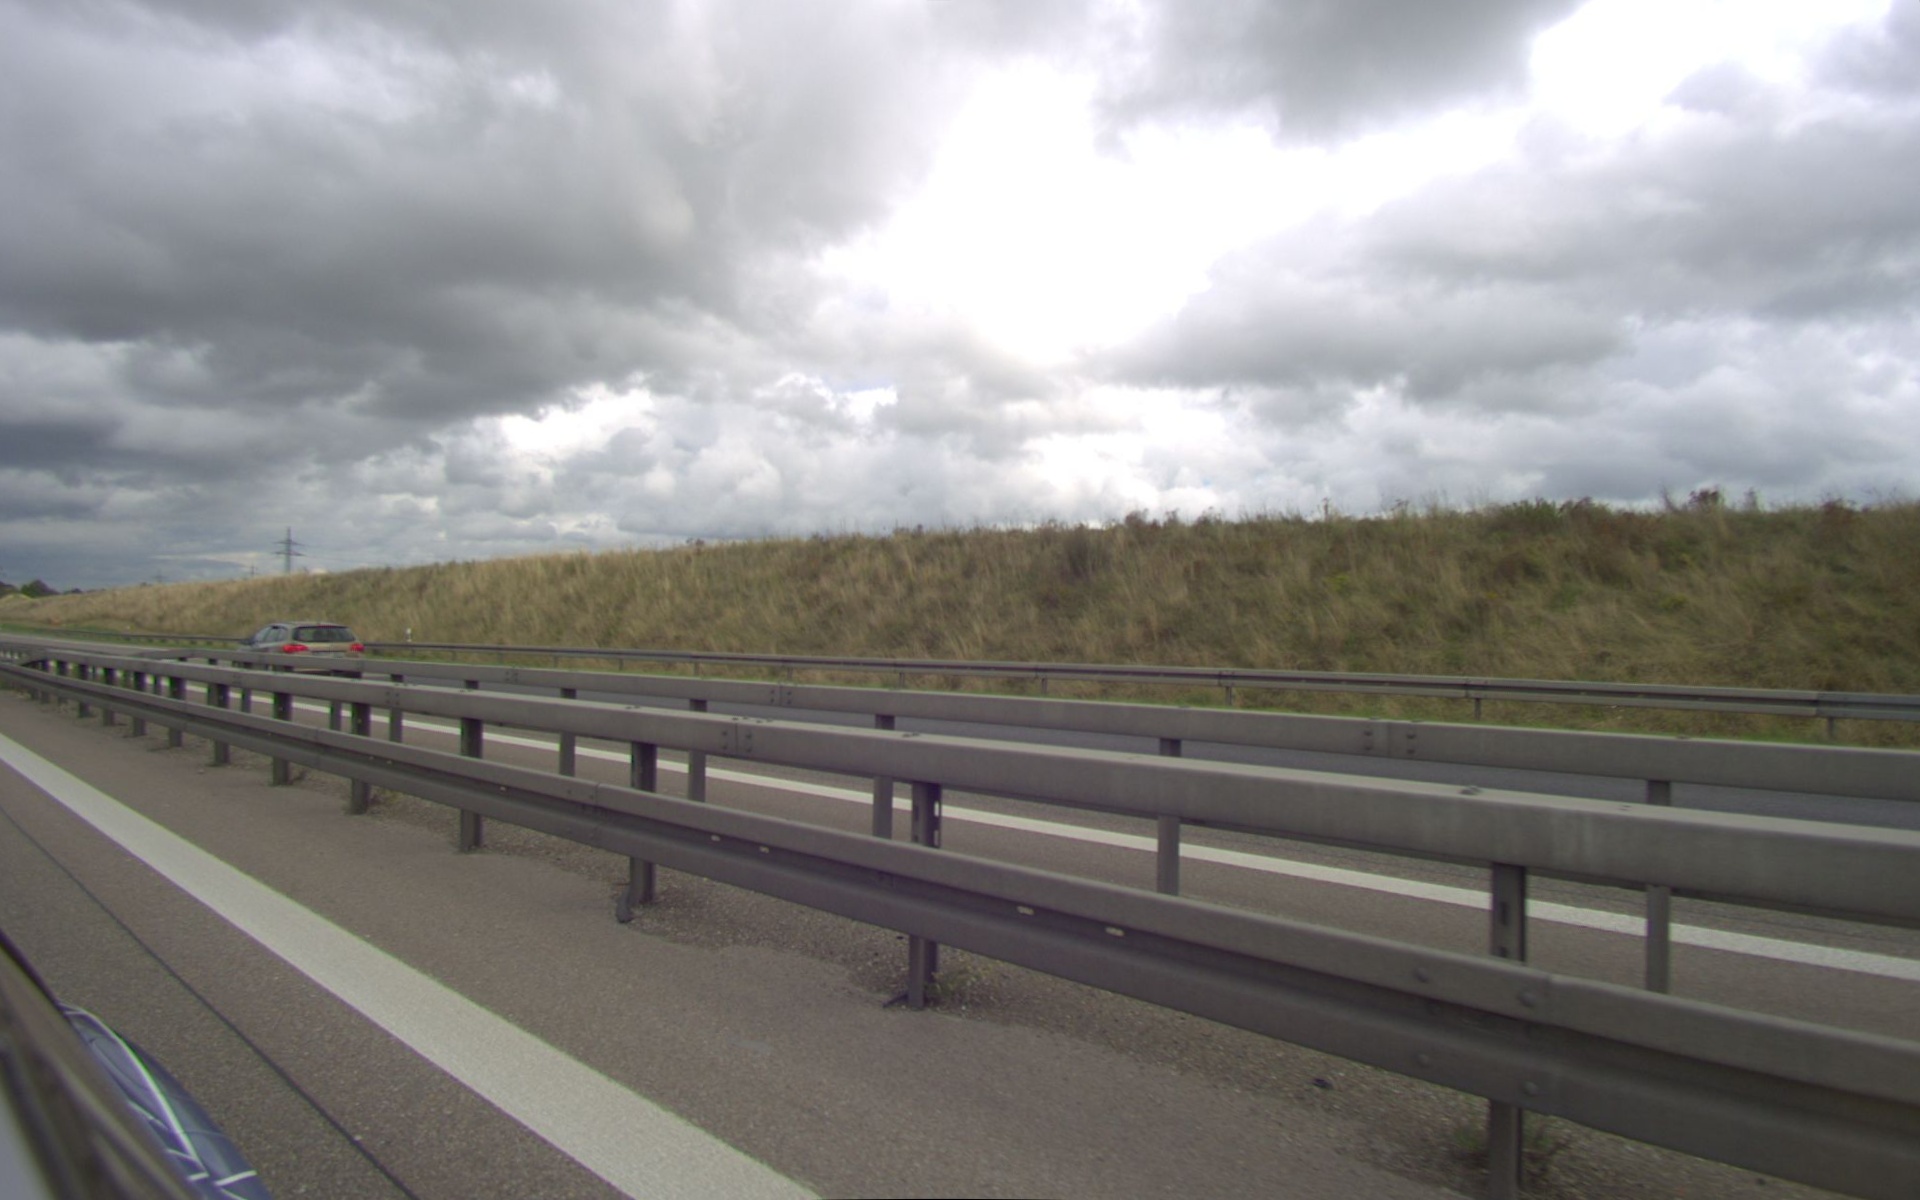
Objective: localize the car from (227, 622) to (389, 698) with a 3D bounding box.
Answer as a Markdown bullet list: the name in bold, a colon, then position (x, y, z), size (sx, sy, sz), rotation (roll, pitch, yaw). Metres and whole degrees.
- **car**: position (-14.981, 1.289, 23.155), size (4.727, 1.524, 1.886), rotation (0, -1, 41)
